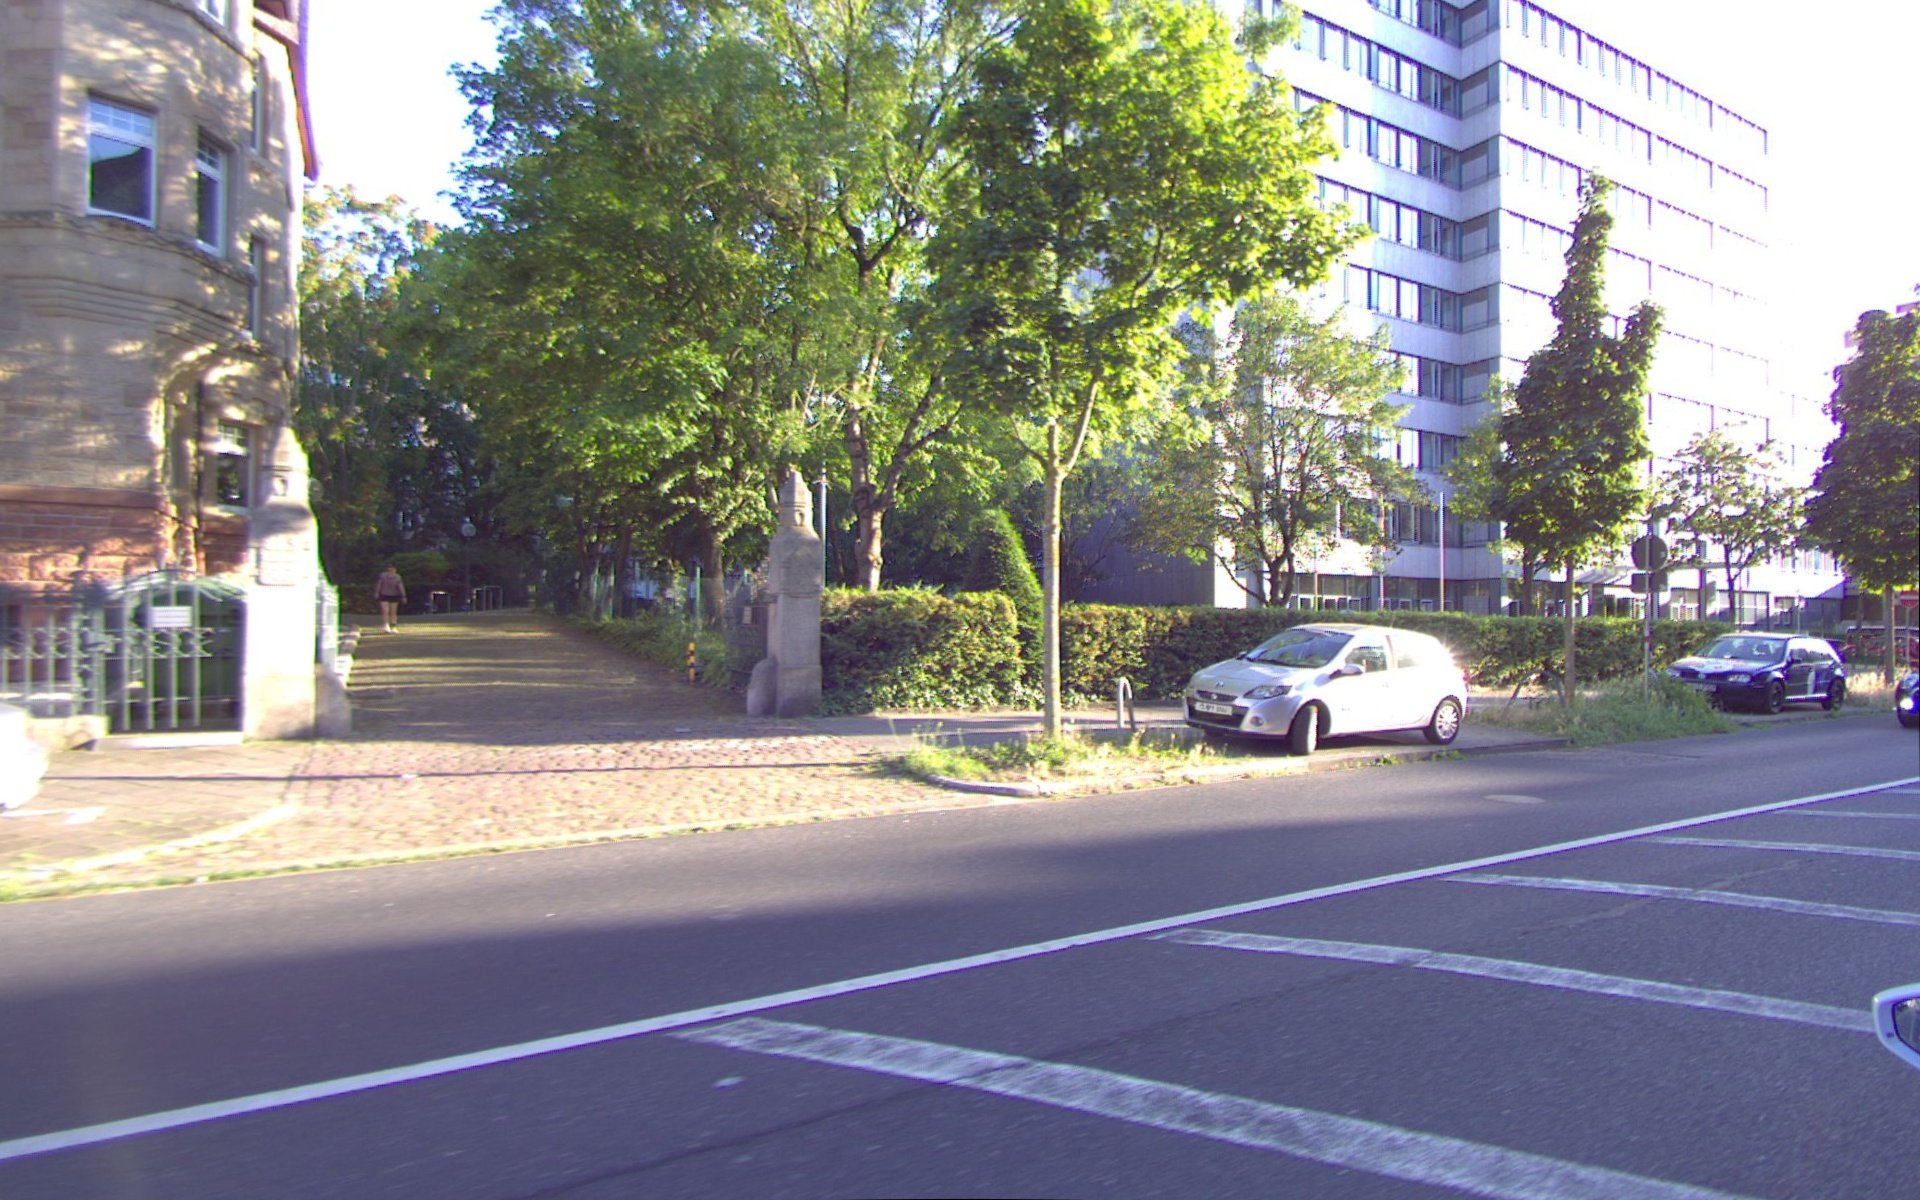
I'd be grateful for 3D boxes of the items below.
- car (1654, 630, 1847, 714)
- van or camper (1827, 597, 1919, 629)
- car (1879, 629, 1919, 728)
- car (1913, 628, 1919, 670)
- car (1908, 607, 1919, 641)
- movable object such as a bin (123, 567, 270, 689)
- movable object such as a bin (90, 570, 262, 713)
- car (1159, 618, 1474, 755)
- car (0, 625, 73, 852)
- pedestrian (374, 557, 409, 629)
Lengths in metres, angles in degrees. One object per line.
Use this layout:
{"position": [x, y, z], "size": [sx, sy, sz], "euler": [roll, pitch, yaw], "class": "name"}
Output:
{"position": [15.137, 1.298, 19.196], "size": [3.955, 1.404, 1.629], "euler": [1, 0, -32], "class": "car"}
{"position": [78.618, 1.086, 85.798], "size": [2.422, 2.556, 6.528], "euler": [1, 0, -31], "class": "van or camper"}
{"position": [16.938, 1.244, 16.446], "size": [3.953, 1.550, 1.671], "euler": [1, -3, -31], "class": "car"}
{"position": [32.499, 1.596, 32.072], "size": [4.018, 1.327, 1.984], "euler": [1, 0, -30], "class": "car"}
{"position": [67.725, 1.677, 69.315], "size": [5.184, 2.338, 1.984], "euler": [1, 0, -31], "class": "car"}
{"position": [-10.003, 0.324, 13.266], "size": [1.313, 1.397, 1.930], "euler": [1, 3, -31], "class": "movable object such as a bin"}
{"position": [-8.910, 0.416, 11.540], "size": [1.313, 1.397, 1.930], "euler": [1, 3, -31], "class": "movable object such as a bin"}
{"position": [4.603, 0.997, 12.838], "size": [3.955, 1.471, 1.688], "euler": [1, 0, -32], "class": "car"}
{"position": [-7.448, 0.792, 5.551], "size": [3.573, 1.265, 1.528], "euler": [1, 0, -32], "class": "car"}
{"position": [-13.828, -0.153, 24.440], "size": [0.689, 1.720, 0.581], "euler": [1, -1, -29], "class": "pedestrian"}
